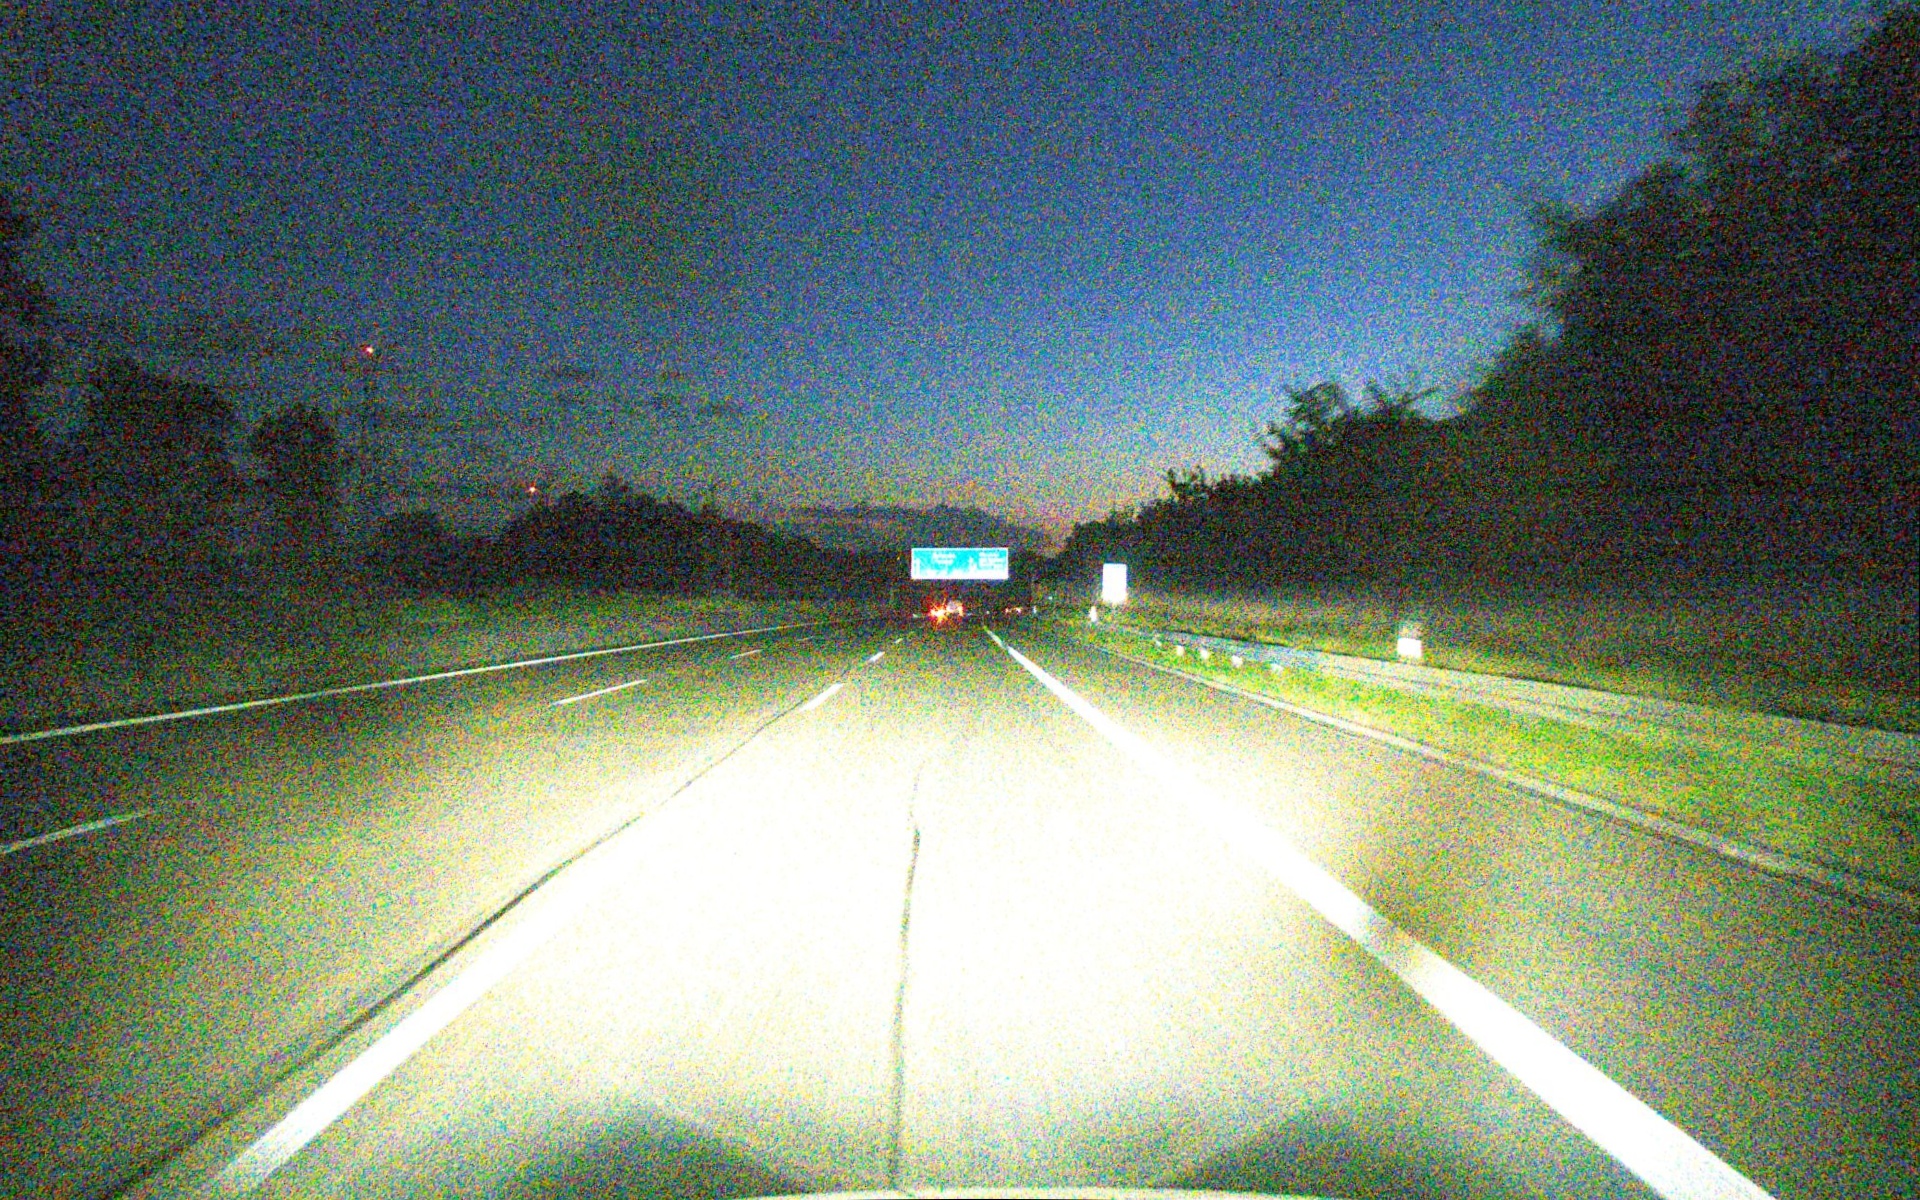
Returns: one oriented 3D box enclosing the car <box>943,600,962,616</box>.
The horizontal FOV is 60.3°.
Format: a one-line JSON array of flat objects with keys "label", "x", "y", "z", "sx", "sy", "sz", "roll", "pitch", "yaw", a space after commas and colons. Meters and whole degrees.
[{"label": "car", "x": -1.071, "y": 1.155, "z": 245.048, "sx": 2.458, "sy": 2.354, "sz": 4.972, "roll": 0, "pitch": -1, "yaw": 4}]
